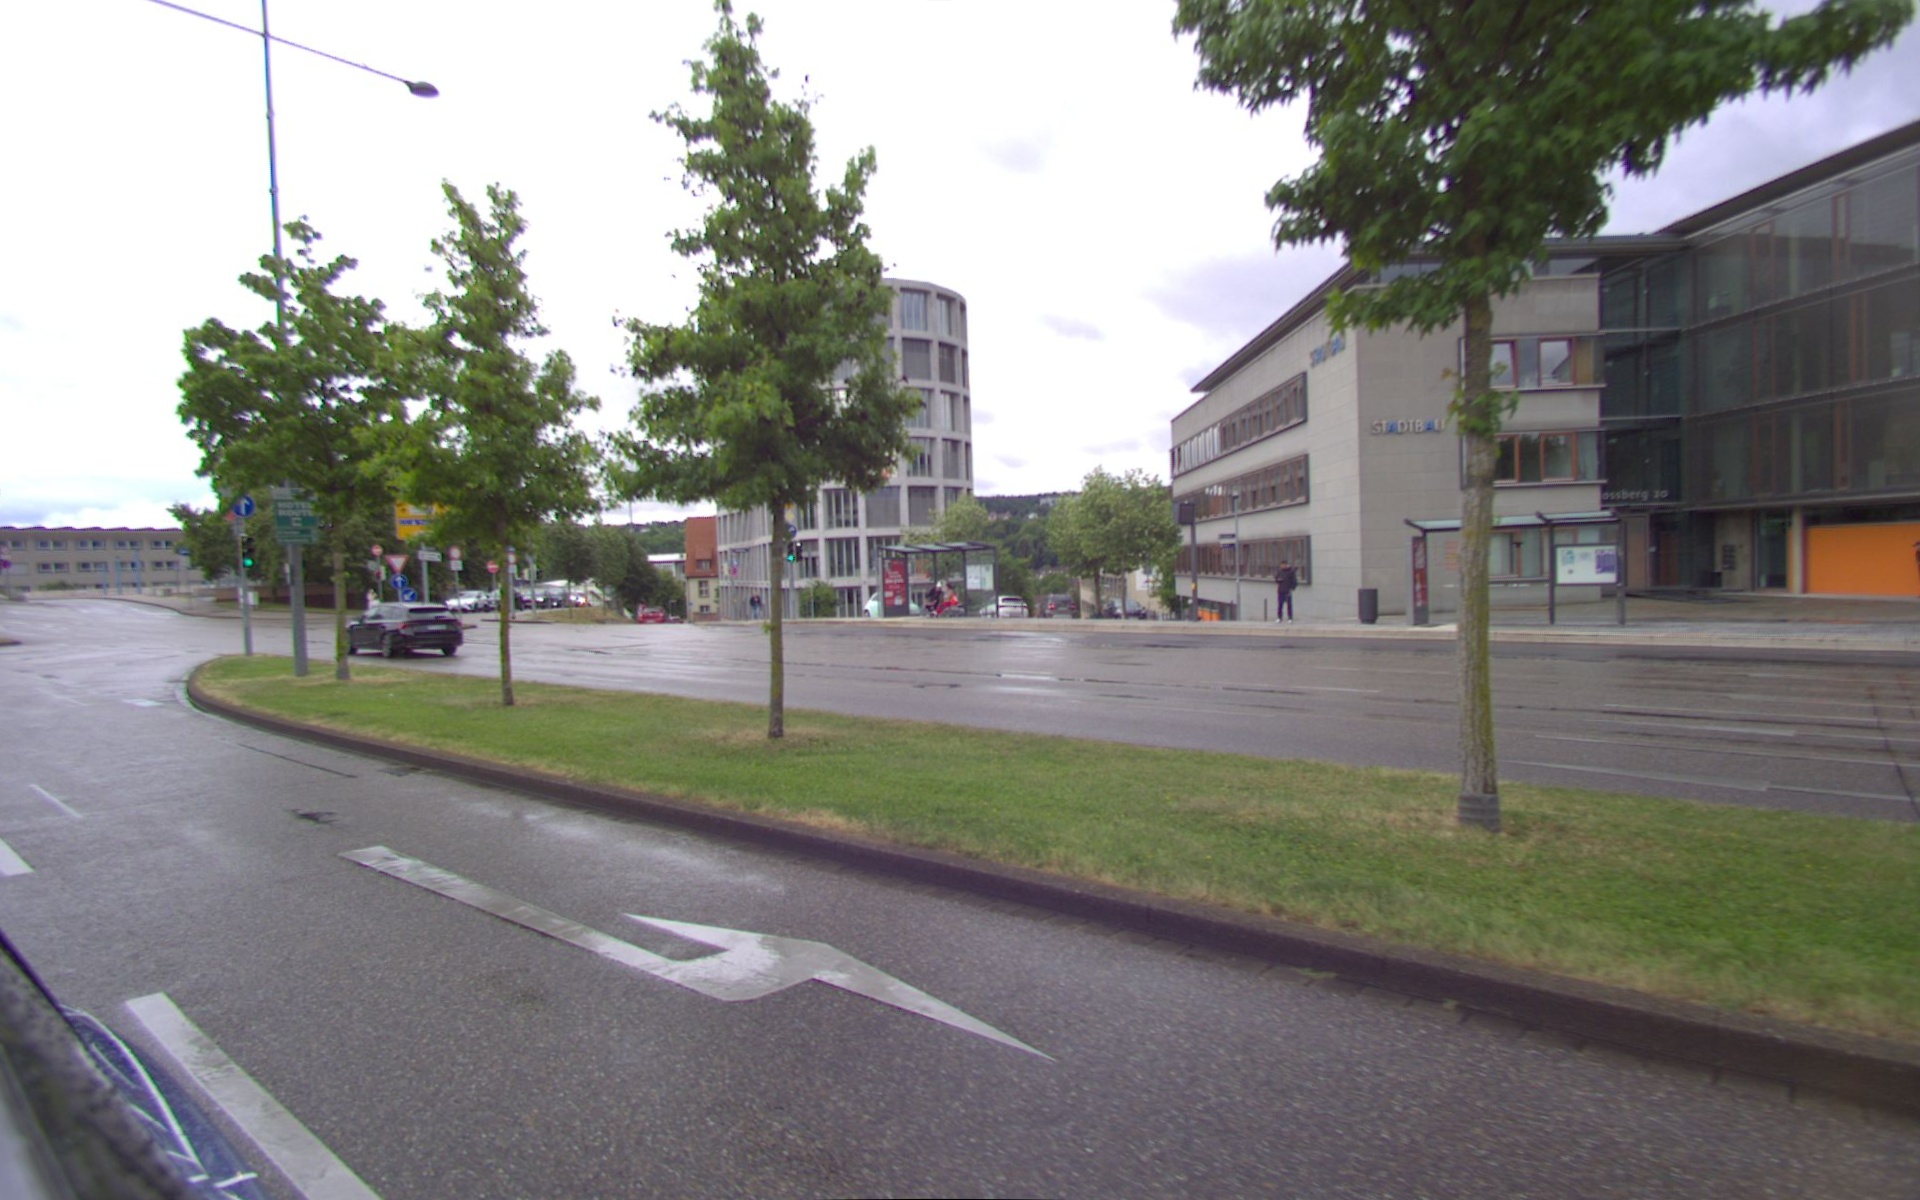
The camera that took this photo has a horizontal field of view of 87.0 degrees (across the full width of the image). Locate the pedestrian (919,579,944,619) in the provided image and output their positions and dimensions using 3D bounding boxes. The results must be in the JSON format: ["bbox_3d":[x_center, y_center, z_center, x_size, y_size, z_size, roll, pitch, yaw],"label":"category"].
[{"bbox_3d":[-1.062,-0.025,38.103,0.625,1.480,0.672,0,1,38],"label":"pedestrian"}]

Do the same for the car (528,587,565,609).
[{"bbox_3d":[-31.885,-0.167,78.052,1.701,1.579,3.845,-1,1,-8],"label":"car"}]

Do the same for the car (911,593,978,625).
[{"bbox_3d":[-0.822,0.402,50.555,1.606,1.507,3.591,-2,1,-35],"label":"car"}]

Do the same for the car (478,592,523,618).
[{"bbox_3d":[-30.270,0.286,66.761,1.701,1.579,3.845,-1,1,-8],"label":"car"}]

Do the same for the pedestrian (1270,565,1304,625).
[{"bbox_3d":[9.316,-0.144,28.813,0.468,1.696,0.764,-1,0,-44],"label":"pedestrian"}]

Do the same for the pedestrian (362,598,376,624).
[{"bbox_3d":[-36.180,0.687,61.948,0.644,1.582,0.631,0,2,-44],"label":"pedestrian"}]

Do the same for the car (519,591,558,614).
[{"bbox_3d":[-30.659,0.150,73.742,1.701,1.579,3.845,-1,1,-8],"label":"car"}]

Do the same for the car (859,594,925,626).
[{"bbox_3d":[-3.426,0.458,50.412,1.606,1.507,3.591,-2,1,-35],"label":"car"}]

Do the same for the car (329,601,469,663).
[{"bbox_3d":[-15.433,0.826,27.730,4.633,1.539,1.664,0,1,38],"label":"car"}]

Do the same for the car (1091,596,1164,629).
[{"bbox_3d":[8.239,0.586,50.033,1.605,1.507,3.593,-2,1,-32],"label":"car"}]

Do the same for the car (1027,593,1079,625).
[{"bbox_3d":[4.648,0.435,51.012,1.606,1.507,3.591,-1,1,-12],"label":"car"}]

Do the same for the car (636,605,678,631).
[{"bbox_3d":[-19.830,1.142,66.277,1.801,1.563,4.037,-1,1,-4],"label":"car"}]

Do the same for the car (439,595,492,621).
[{"bbox_3d":[-33.212,0.505,68.094,1.858,1.579,4.147,-1,1,-6],"label":"car"}]

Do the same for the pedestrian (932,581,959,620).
[{"bbox_3d":[-0.530,0.016,37.604,0.720,1.402,0.672,0,1,38],"label":"pedestrian"}]

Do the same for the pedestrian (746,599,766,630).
[{"bbox_3d":[-10.571,0.737,52.482,0.704,1.595,0.665,0,2,38],"label":"pedestrian"}]

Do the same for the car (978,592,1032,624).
[{"bbox_3d":[2.204,0.366,50.520,1.737,1.507,3.797,-1,1,-12],"label":"car"}]

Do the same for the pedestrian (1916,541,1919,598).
[{"bbox_3d":[28.921,-0.920,30.047,0.467,1.696,0.645,-1,0,-19],"label":"pedestrian"}]

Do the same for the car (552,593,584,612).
[{"bbox_3d":[-33.957,0.193,87.665,1.701,1.579,3.845,-1,1,-8],"label":"car"}]
